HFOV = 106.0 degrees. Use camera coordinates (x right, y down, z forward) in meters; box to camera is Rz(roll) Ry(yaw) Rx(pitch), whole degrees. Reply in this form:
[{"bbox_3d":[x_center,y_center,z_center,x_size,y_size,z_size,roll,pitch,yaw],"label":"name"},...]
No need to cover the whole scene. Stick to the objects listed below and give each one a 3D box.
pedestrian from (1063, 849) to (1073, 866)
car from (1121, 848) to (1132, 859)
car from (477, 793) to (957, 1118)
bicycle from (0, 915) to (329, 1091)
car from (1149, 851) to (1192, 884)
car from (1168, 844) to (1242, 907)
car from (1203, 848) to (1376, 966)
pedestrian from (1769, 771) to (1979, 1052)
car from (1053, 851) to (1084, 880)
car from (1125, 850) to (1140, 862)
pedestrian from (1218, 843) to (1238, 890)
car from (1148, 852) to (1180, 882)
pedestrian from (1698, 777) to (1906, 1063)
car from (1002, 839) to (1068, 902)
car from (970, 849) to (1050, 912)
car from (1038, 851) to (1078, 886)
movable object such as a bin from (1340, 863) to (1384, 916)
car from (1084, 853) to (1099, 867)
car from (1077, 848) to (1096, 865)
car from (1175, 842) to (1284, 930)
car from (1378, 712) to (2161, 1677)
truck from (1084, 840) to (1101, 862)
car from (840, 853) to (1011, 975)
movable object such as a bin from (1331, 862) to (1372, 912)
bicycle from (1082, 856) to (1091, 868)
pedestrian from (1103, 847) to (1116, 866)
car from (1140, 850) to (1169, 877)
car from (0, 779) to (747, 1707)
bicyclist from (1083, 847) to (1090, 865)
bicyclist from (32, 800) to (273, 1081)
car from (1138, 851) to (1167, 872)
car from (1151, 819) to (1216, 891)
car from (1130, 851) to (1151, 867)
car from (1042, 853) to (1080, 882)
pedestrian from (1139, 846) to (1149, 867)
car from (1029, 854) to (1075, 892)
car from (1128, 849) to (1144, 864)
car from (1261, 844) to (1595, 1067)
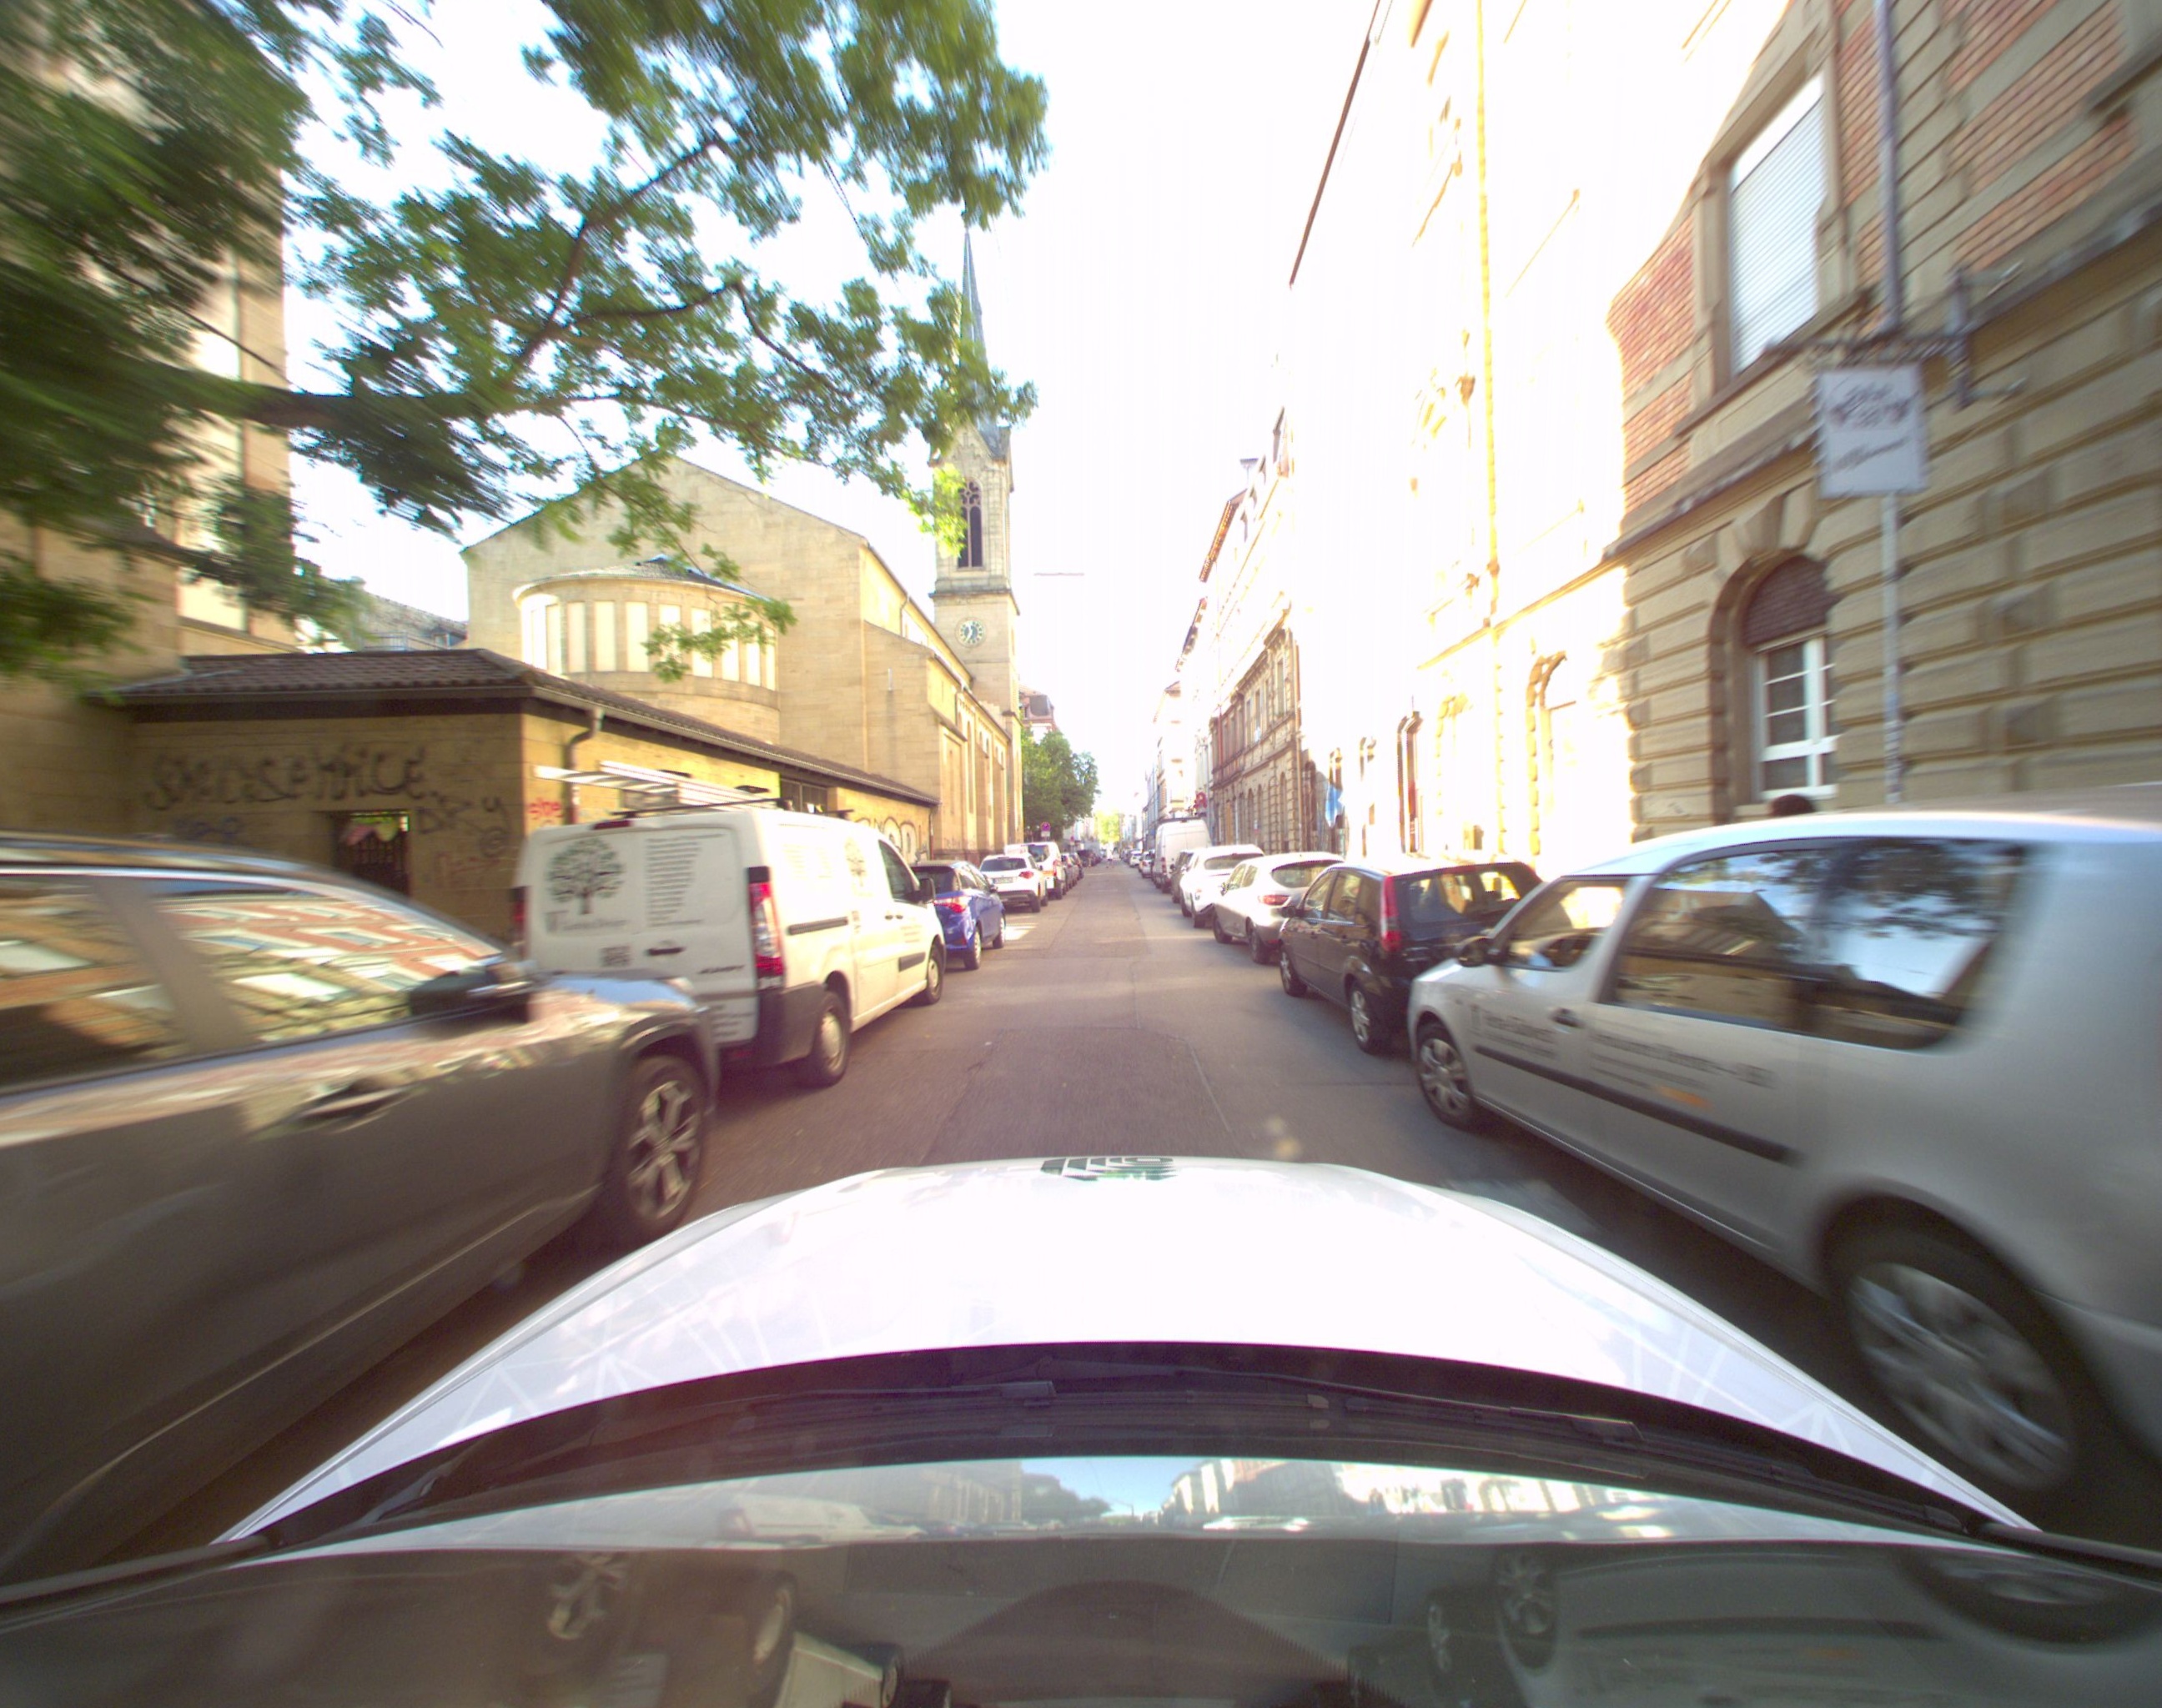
[{"bbox_3d":[-1.349,0.353,82.586,0.925,1.637,0.807,-1,0,3],"label":"pedestrian"},{"bbox_3d":[8.467,-0.151,153.340,1.985,2.013,4.003,-1,0,2],"label":"car"},{"bbox_3d":[-2.459,0.573,6.953,1.838,1.862,4.469,-1,0,3],"label":"car"},{"bbox_3d":[-6.242,0.940,5.472,1.750,0.923,0.829,2,0,10],"label":"bicycle"},{"bbox_3d":[4.259,0.599,39.191,1.772,1.486,4.362,1,0,2],"label":"car"},{"bbox_3d":[3.497,0.566,23.524,1.680,1.642,3.926,-1,0,2],"label":"car"},{"bbox_3d":[3.047,0.690,12.678,1.568,1.525,3.906,1,0,-2],"label":"car"},{"bbox_3d":[4.960,0.333,5.140,0.572,1.621,0.734,-2,0,0],"label":"pedestrian"},{"bbox_3d":[-0.721,0.646,49.739,1.594,1.614,3.810,-3,0,2],"label":"car"},{"bbox_3d":[7.029,0.256,111.095,1.985,1.632,4.003,1,0,2],"label":"car"},{"bbox_3d":[5.570,0.463,30.796,0.634,1.772,0.682,1,-1,19],"label":"pedestrian"},{"bbox_3d":[4.414,0.663,43.597,1.563,1.495,3.656,1,0,3],"label":"car"},{"bbox_3d":[4.364,0.371,4.983,0.589,1.604,0.727,-2,0,0],"label":"pedestrian"},{"bbox_3d":[-1.533,0.516,28.684,1.857,1.957,4.612,-3,0,2],"label":"car"},{"bbox_3d":[-1.891,0.676,22.894,1.735,1.586,3.871,-1,0,2],"label":"car"},{"bbox_3d":[-1.062,0.663,39.191,1.667,1.558,4.001,-2,0,1],"label":"car"},{"bbox_3d":[5.878,0.741,17.048,0.551,1.052,0.597,-4,0,-31],"label":"movable object such as a bin"},{"bbox_3d":[1.442,0.791,110.884,1.868,1.796,4.003,-1,0,2],"label":"car"},{"bbox_3d":[0.623,0.215,89.172,1.868,1.796,4.003,-1,0,2],"label":"car"},{"bbox_3d":[3.119,0.630,17.905,1.800,1.690,4.217,1,0,3],"label":"car"},{"bbox_3d":[2.765,0.576,3.264,1.698,1.714,3.938,-2,0,0],"label":"car"},{"bbox_3d":[1.839,-0.427,127.355,2.522,3.281,6.999,-1,0,3],"label":"truck"},{"bbox_3d":[-2.177,0.770,12.460,1.681,1.476,3.862,-3,0,2],"label":"car"},{"bbox_3d":[5.921,0.715,17.846,0.549,1.052,0.600,-4,0,-16],"label":"movable object such as a bin"},{"bbox_3d":[0.548,0.733,76.136,0.736,1.043,1.860,-1,0,2],"label":"bicycle"},{"bbox_3d":[2.671,0.228,76.381,1.014,1.843,0.778,0,0,-28],"label":"pedestrian"},{"bbox_3d":[4.337,0.527,48.389,1.597,1.505,4.004,0,0,3],"label":"car"},{"bbox_3d":[-2.584,0.717,1.974,1.735,1.646,4.288,-1,0,0],"label":"car"},{"bbox_3d":[0.540,0.187,76.185,0.603,1.688,0.885,-1,0,2],"label":"bicyclist"},{"bbox_3d":[-6.196,0.536,5.472,0.800,1.723,0.694,2,0,10],"label":"bicyclist"},{"bbox_3d":[5.119,0.516,59.014,1.711,1.488,3.868,-1,0,0],"label":"car"},{"bbox_3d":[3.953,0.020,32.401,2.060,2.611,5.891,0,0,2],"label":"car"},{"bbox_3d":[5.609,0.469,76.911,1.890,1.488,3.872,-1,0,3],"label":"car"},{"bbox_3d":[-1.033,0.699,44.321,1.563,1.398,3.813,-4,0,5],"label":"car"},{"bbox_3d":[5.569,0.258,71.802,0.681,1.843,0.692,0,0,-9],"label":"pedestrian"},{"bbox_3d":[-1.195,0.752,34.987,1.609,1.451,3.952,-3,0,2],"label":"car"},{"bbox_3d":[6.604,0.237,97.797,1.762,1.741,4.003,-1,0,2],"label":"car"},{"bbox_3d":[2.844,0.703,7.561,1.530,1.513,3.682,-2,0,0],"label":"car"}]
